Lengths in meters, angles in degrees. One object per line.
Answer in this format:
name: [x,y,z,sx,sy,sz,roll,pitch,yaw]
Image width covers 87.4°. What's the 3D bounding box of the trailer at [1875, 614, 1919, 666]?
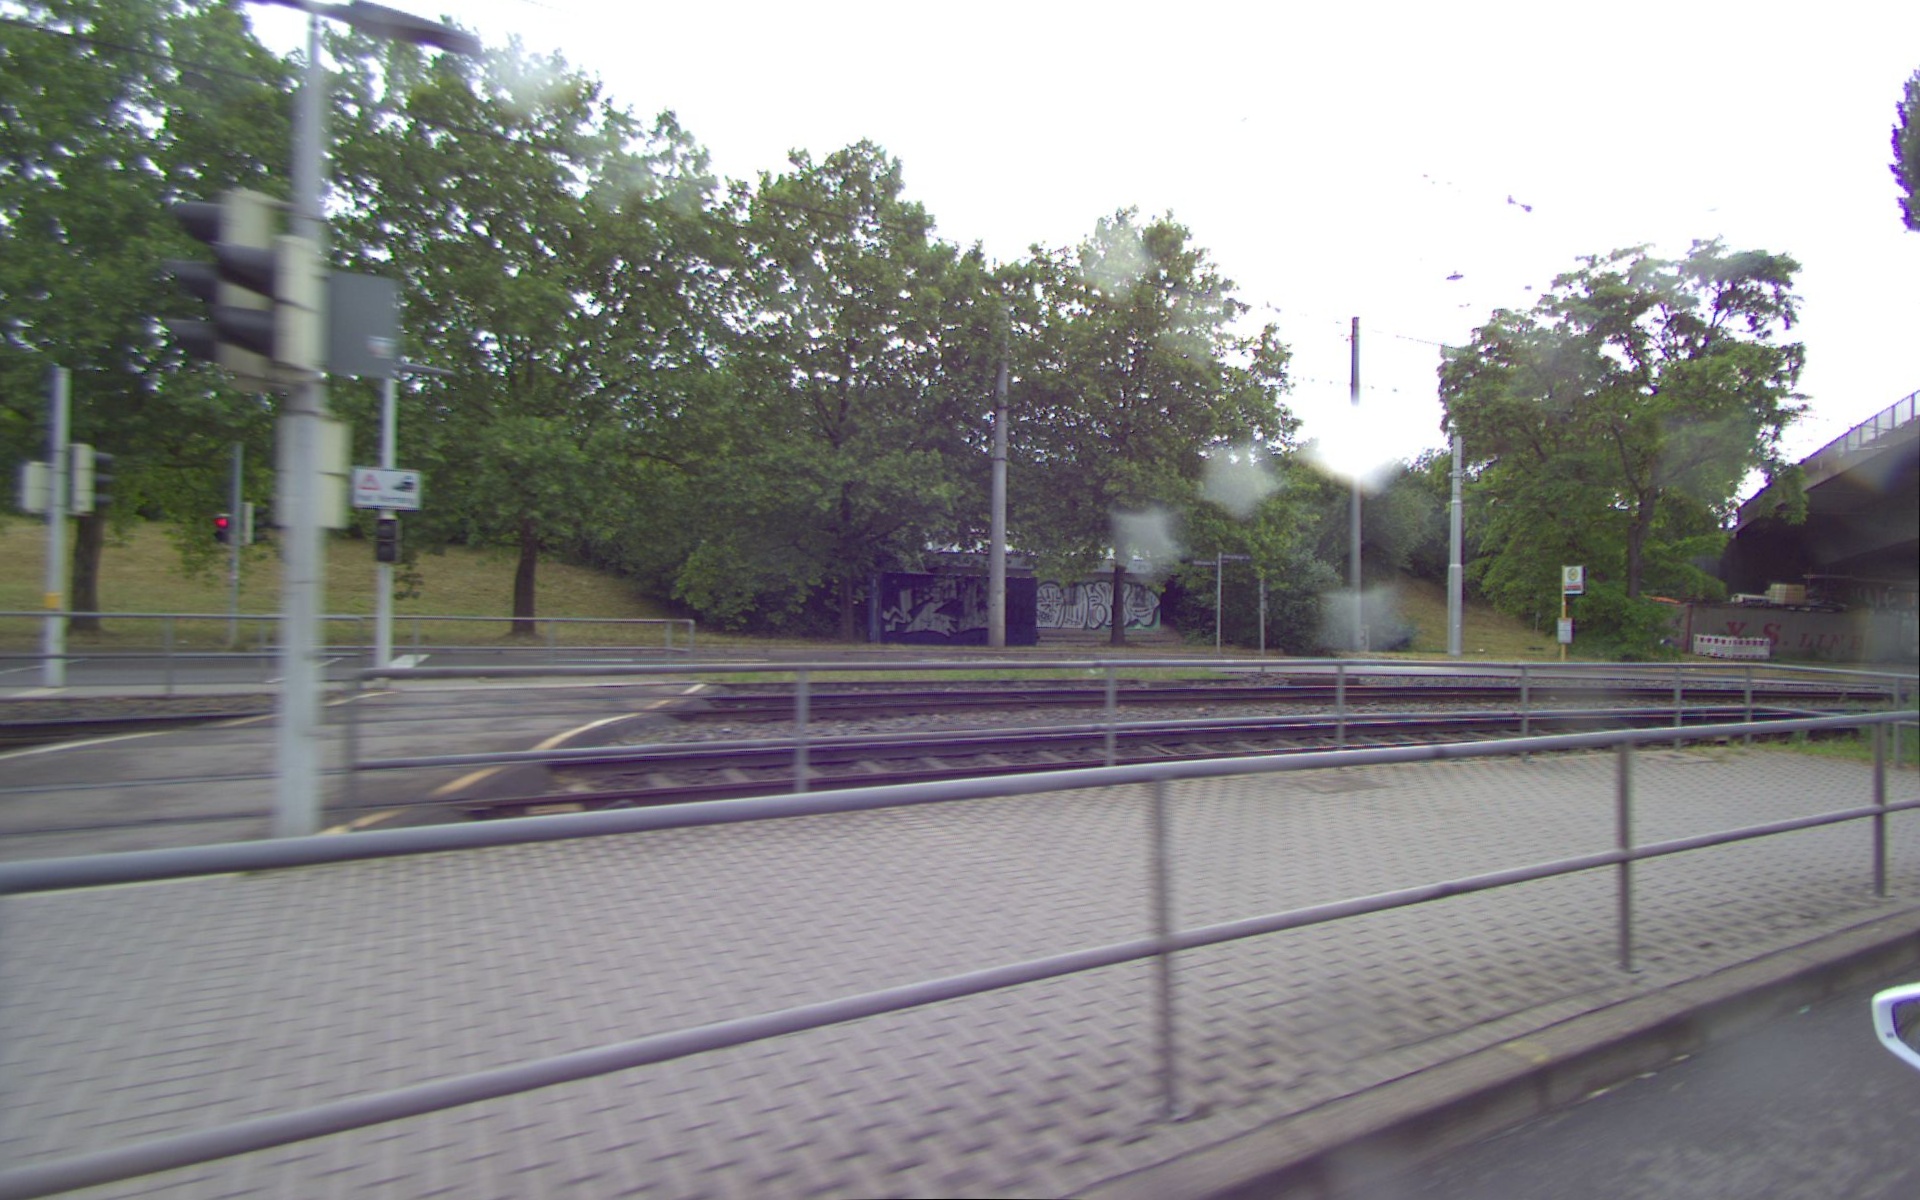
trailer: [52.694,2.244,55.515,1.962,2.761,4.120,2,0,26]
